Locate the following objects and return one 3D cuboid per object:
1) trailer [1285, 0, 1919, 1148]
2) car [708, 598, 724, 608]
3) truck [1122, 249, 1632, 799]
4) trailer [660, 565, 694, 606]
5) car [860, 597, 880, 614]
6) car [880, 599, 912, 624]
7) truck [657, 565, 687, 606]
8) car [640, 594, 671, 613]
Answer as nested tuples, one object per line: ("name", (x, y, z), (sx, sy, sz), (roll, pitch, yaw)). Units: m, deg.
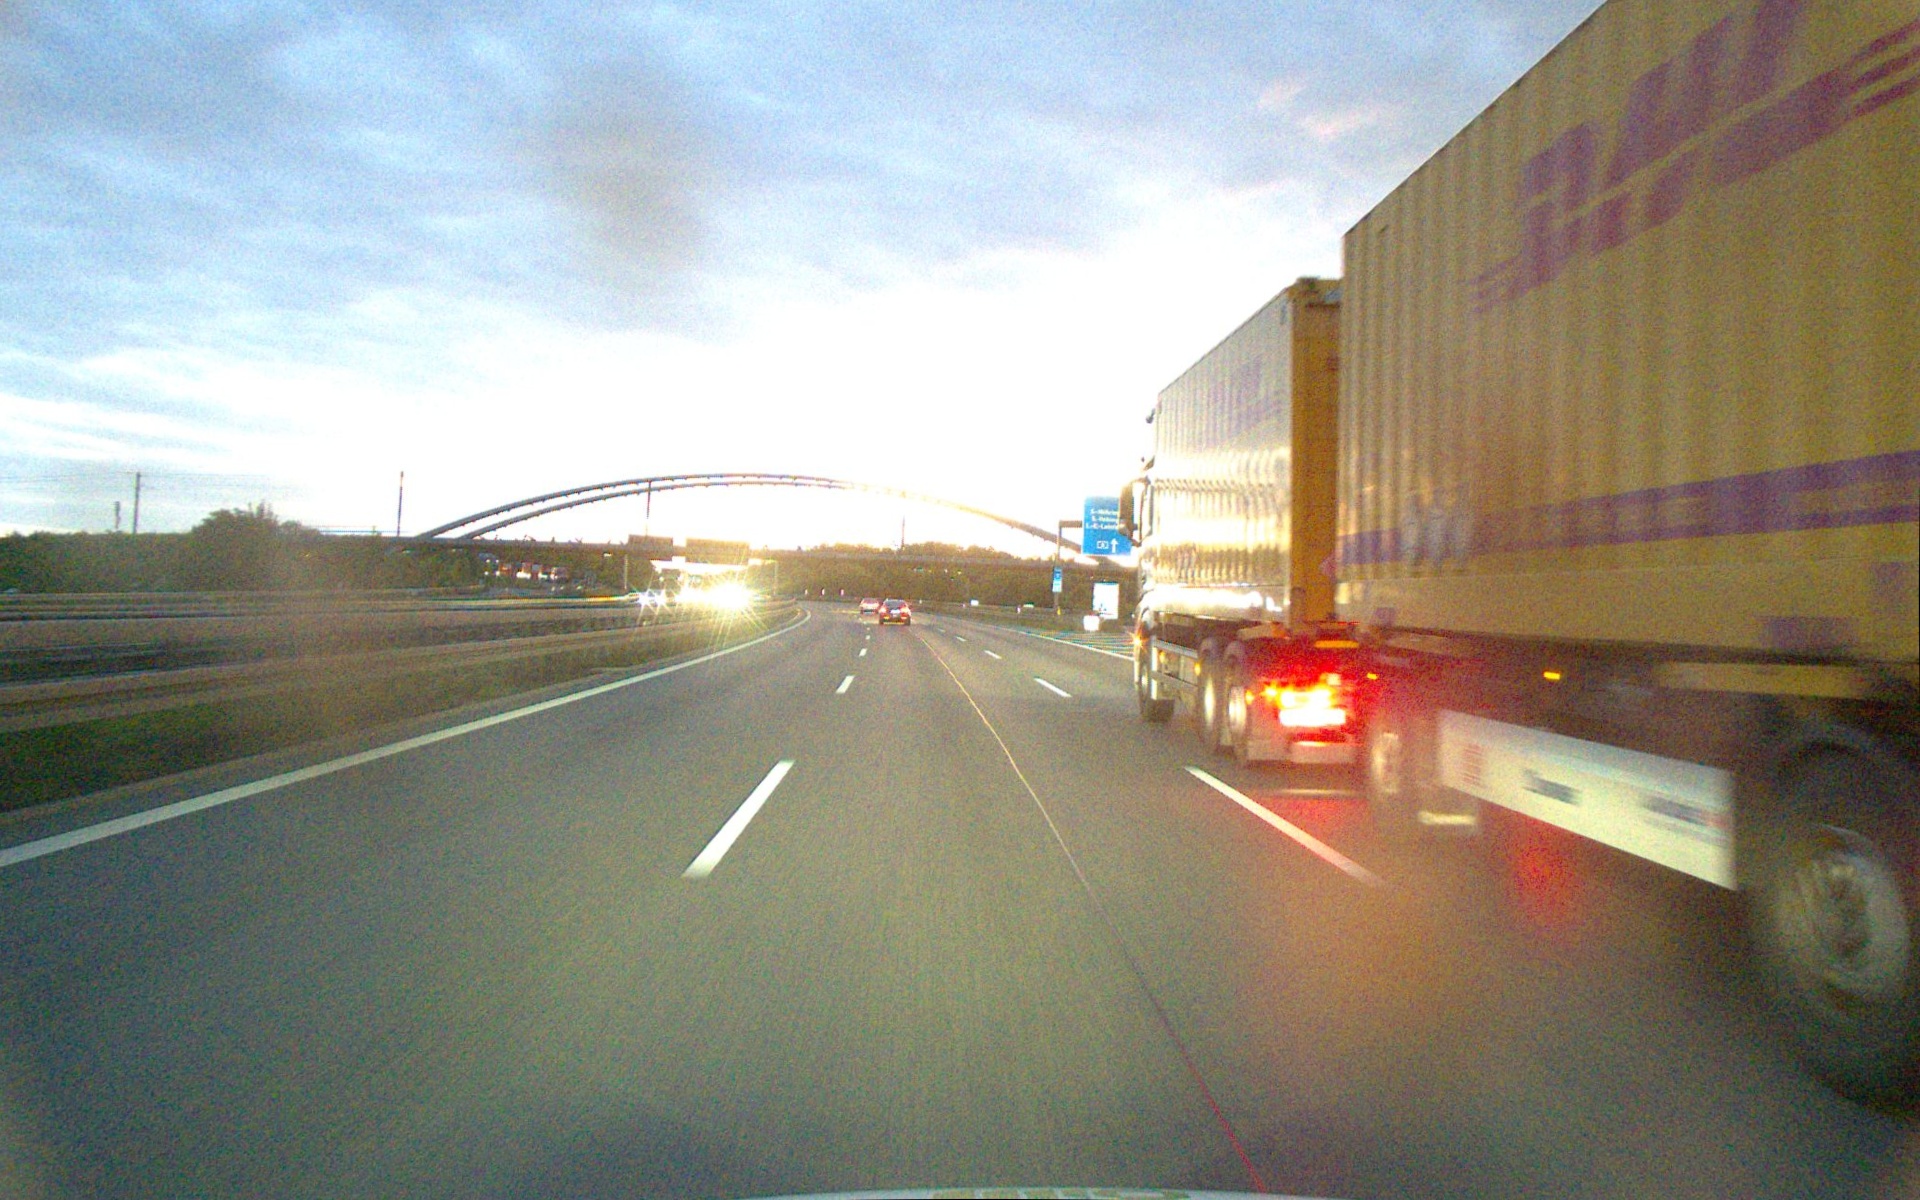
("trailer", (3.893, -0.568, 8.114), (2.666, 4.142, 8.829), (1, 0, -1))
("car", (-34.365, 0.382, 232.975), (1.954, 1.428, 4.325), (1, 0, -5))
("truck", (3.701, -0.576, 17.858), (2.636, 4.142, 10.517), (1, 0, -1))
("trailer", (-33.160, -1.628, 194.312), (2.770, 4.586, 14.611), (1, 0, -5))
("car", (-8.496, 0.542, 156.130), (1.655, 1.426, 3.408), (0, -2, 1))
("car", (-3.781, 0.686, 97.535), (1.657, 1.426, 3.403), (1, -2, -6))
("truck", (-32.649, -1.609, 187.876), (2.770, 4.586, 6.238), (1, 0, -5))
("car", (-27.725, 0.281, 150.596), (1.953, 1.653, 4.842), (1, 0, -1))
